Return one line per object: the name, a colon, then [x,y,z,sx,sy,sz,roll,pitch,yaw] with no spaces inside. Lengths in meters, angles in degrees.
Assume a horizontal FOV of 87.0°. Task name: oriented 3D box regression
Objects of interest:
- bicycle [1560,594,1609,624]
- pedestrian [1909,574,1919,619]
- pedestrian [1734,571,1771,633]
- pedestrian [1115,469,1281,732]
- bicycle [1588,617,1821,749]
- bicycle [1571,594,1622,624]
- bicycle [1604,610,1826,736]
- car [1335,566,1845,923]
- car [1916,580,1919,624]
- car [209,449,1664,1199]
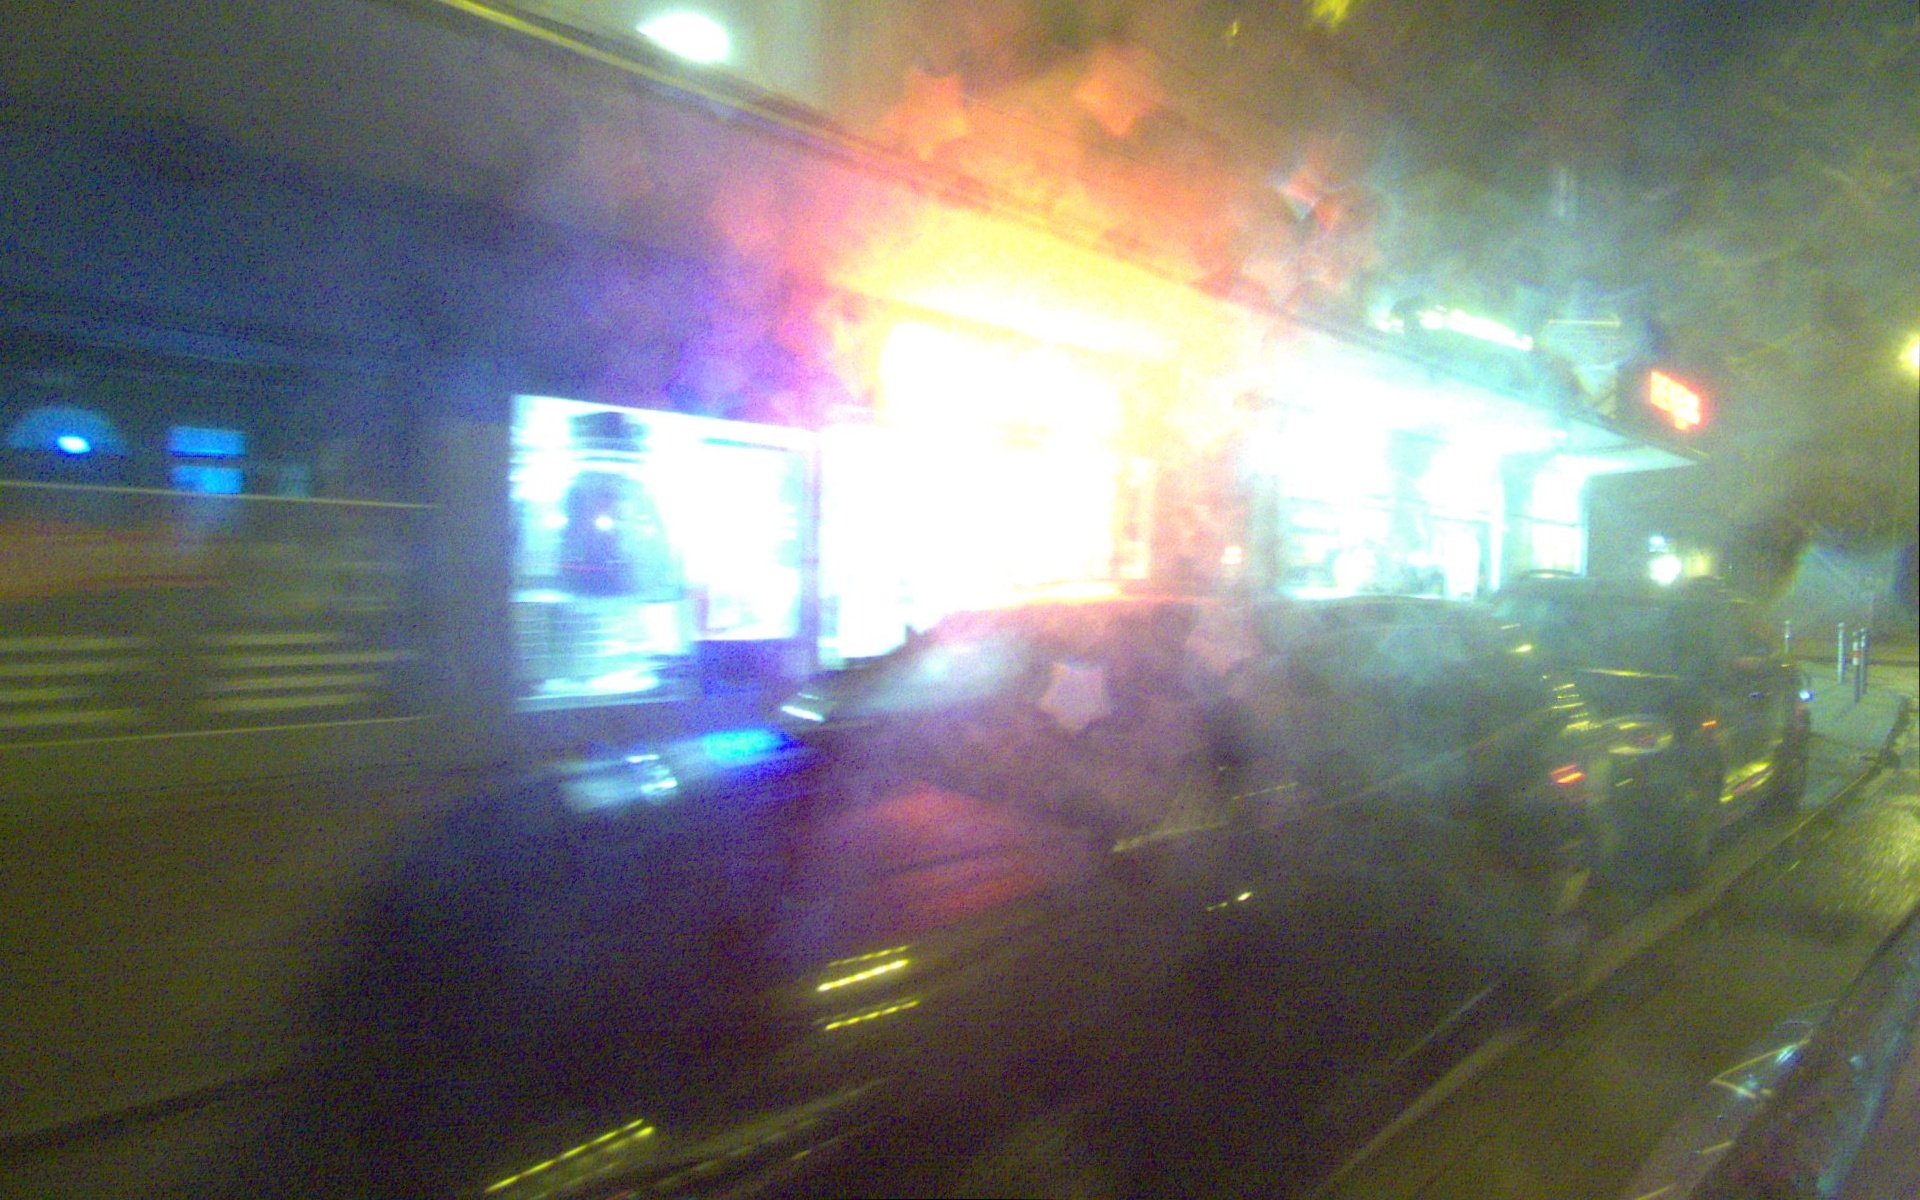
bicycle: [22.345,0.308,36.198,1.772,1.021,0.380,1,1,-16]
pedestrian: [40.140,-0.128,41.963,0.793,1.839,0.793,0,2,-16]
pedestrian: [24.194,0.061,30.888,1.058,1.855,0.676,0,0,-39]
pedestrian: [2.179,-0.024,9.313,0.953,2.235,1.056,0,3,-41]
bicycle: [7.213,0.762,9.886,0.428,1.092,1.765,1,2,-42]
bicycle: [22.416,0.313,35.642,1.772,1.021,0.404,1,1,-16]
bicycle: [7.878,0.716,10.637,0.428,1.139,1.786,1,2,-42]
car: [4.240,0.589,6.522,4.084,1.585,1.755,-1,2,-42]
car: [36.324,0.209,35.058,4.213,1.592,1.760,4,3,22]
car: [0.507,0.584,3.062,4.324,1.557,1.755,-1,2,-42]
